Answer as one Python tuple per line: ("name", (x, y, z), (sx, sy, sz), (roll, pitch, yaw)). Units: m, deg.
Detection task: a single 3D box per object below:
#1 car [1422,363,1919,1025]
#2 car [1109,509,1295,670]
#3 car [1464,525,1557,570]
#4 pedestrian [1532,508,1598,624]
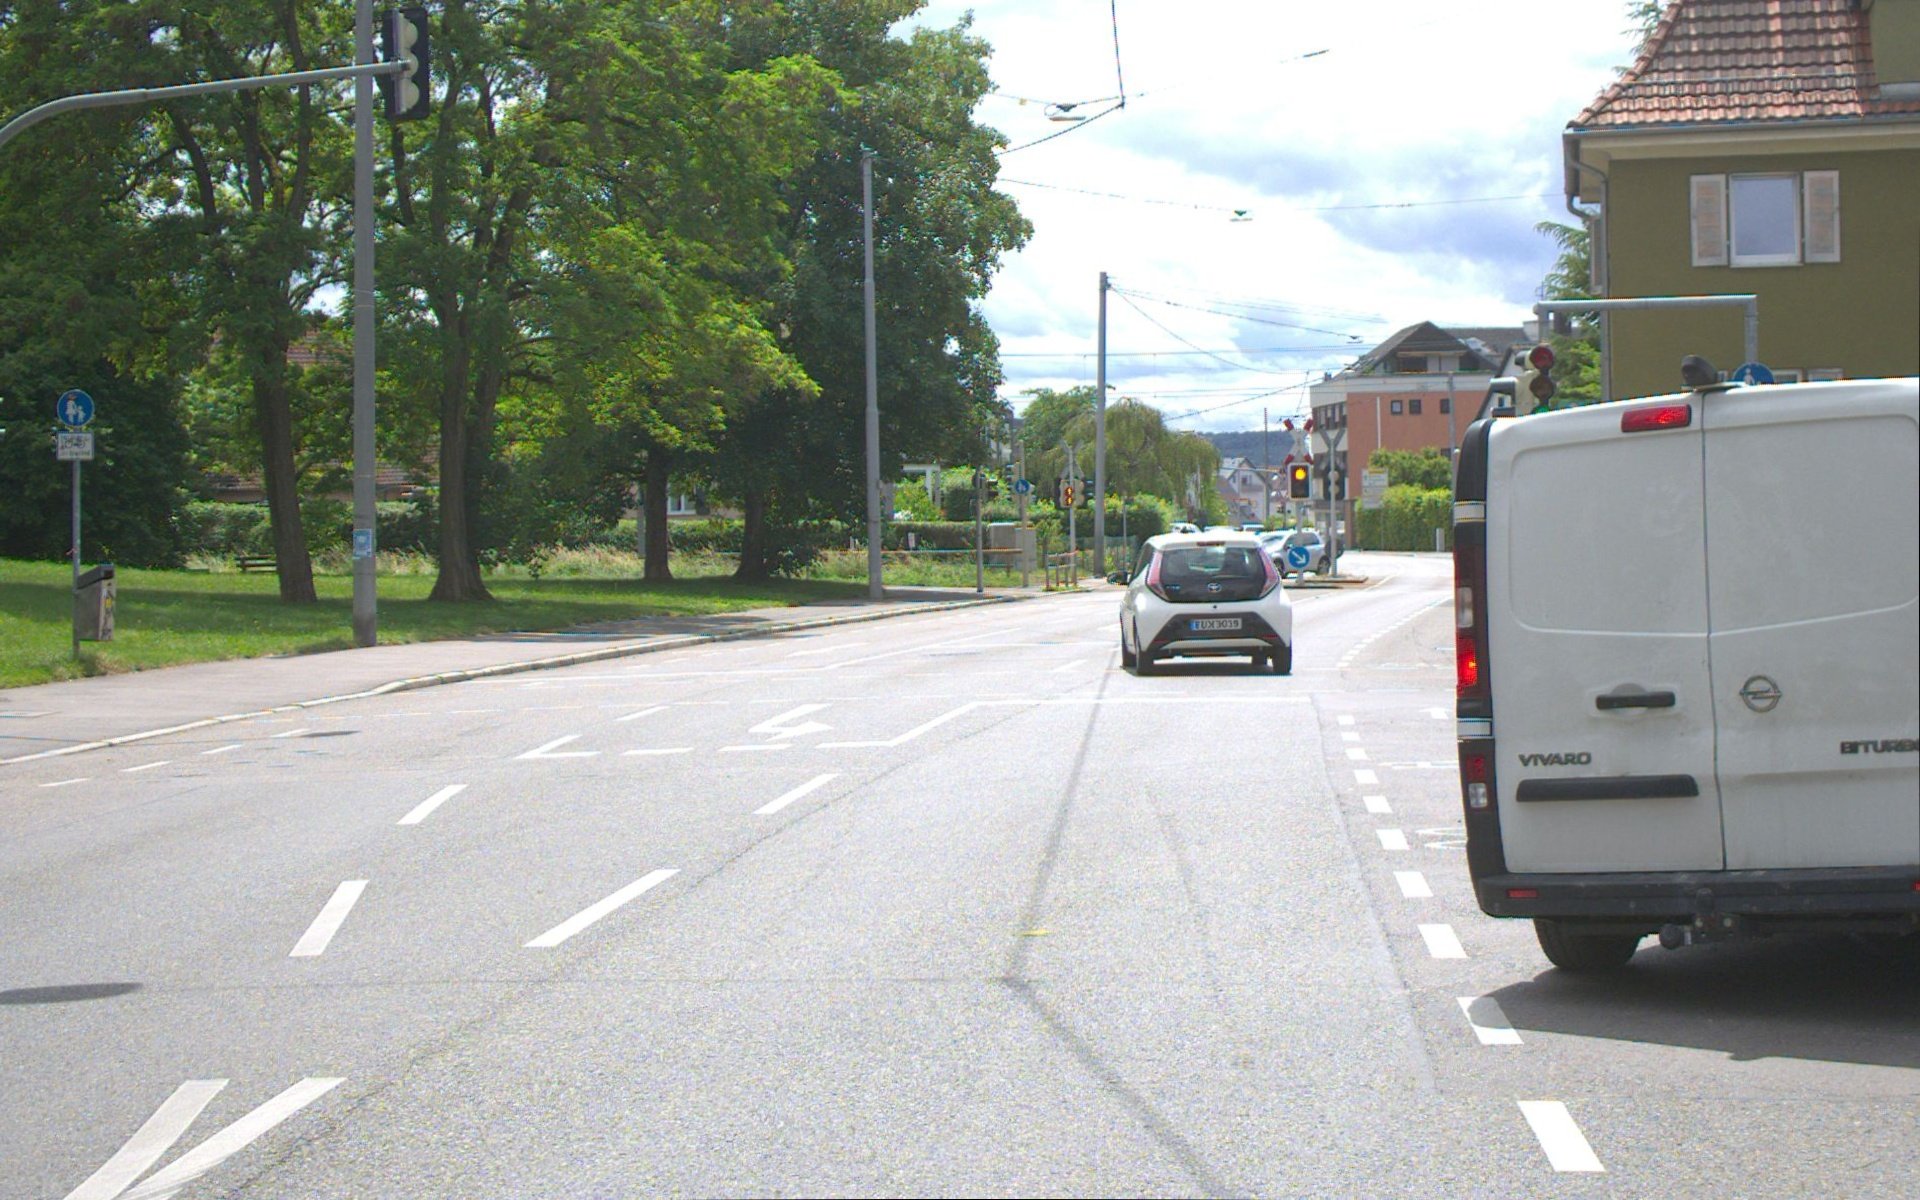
("car", (3.604, 0.180, 12.488), (1.942, 1.954, 4.825), (-1, 2, 32))
("car", (2.524, -0.133, 36.603), (1.603, 1.601, 4.000), (0, 1, -1))
("car", (18.398, -1.752, 115.034), (3.041, 1.429, 1.483), (-1, 1, 8))
("pedestrian", (8.329, -0.460, 47.345), (0.678, 1.548, 0.835), (-3, -2, 0))
